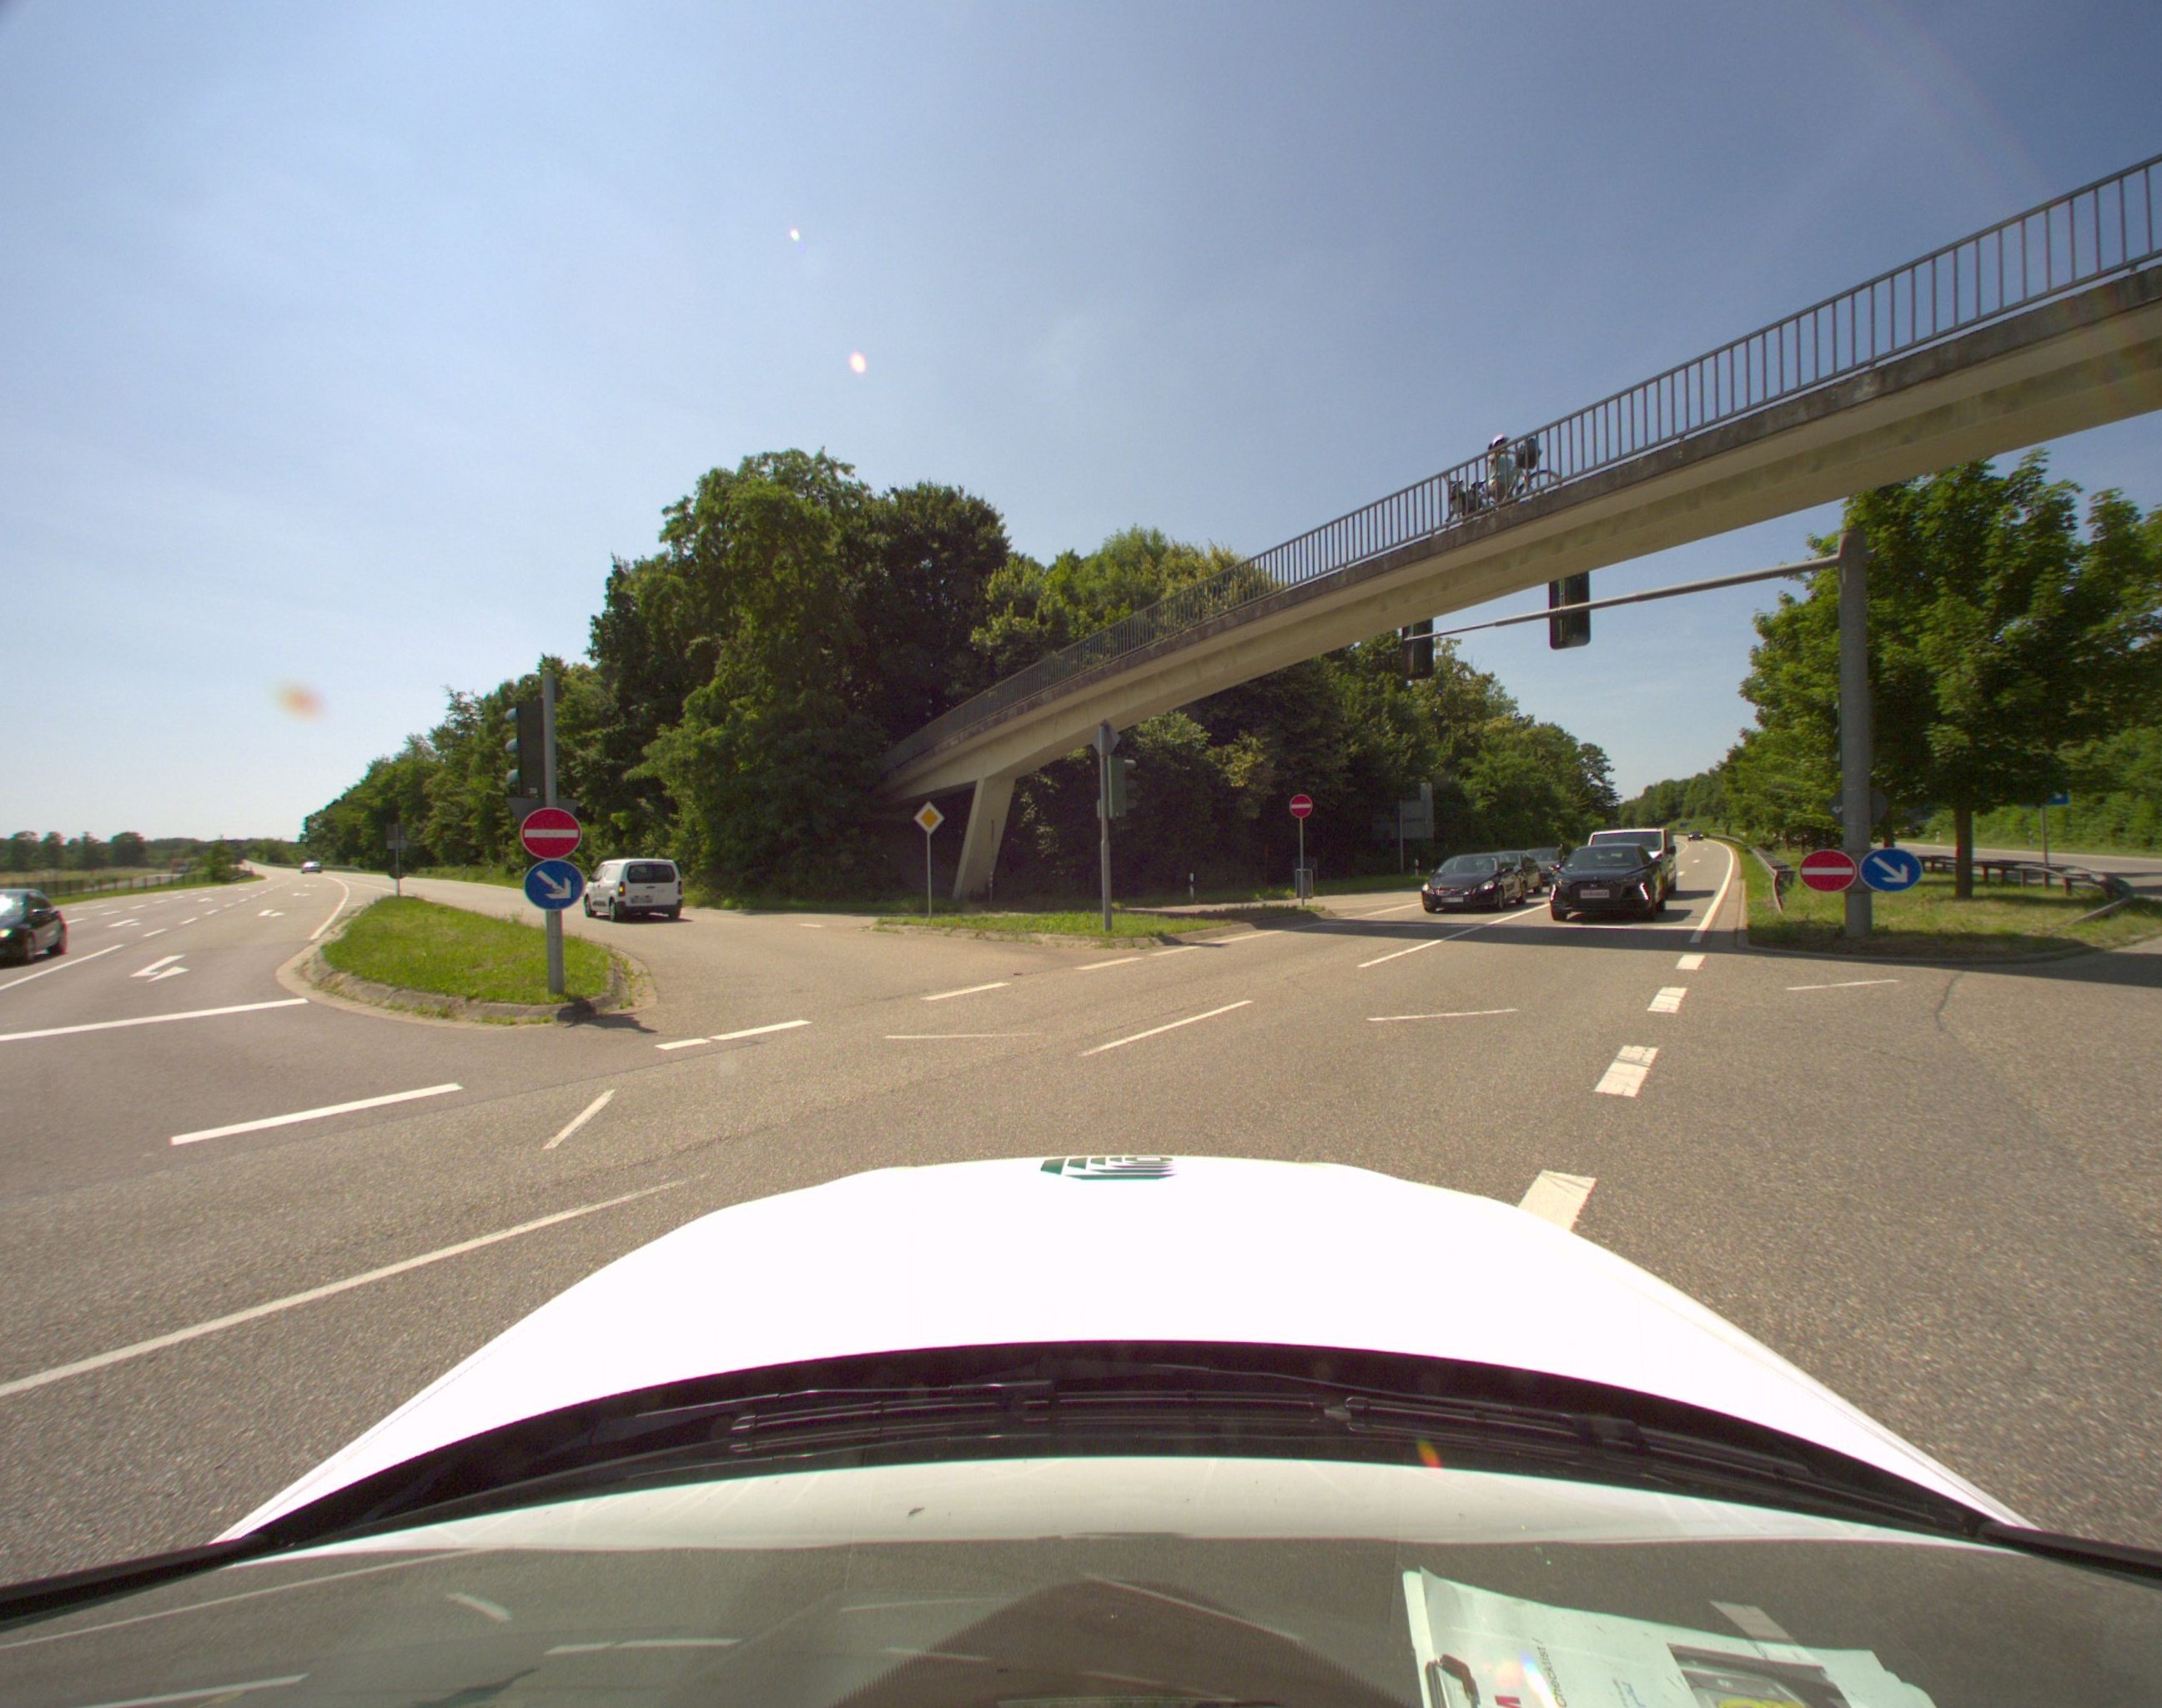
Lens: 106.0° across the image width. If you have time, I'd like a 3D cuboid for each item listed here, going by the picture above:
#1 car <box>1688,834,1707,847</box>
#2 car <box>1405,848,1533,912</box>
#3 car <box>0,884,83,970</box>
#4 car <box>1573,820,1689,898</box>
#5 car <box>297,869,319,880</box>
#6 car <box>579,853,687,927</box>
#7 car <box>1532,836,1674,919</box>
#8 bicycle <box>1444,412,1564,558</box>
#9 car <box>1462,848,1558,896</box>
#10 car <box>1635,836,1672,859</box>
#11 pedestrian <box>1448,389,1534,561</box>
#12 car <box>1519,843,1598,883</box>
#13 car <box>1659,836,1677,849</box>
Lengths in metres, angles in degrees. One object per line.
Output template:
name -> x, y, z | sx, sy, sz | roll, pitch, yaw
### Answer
car -> 96.234, -2.116, 127.165 | 1.974, 2.013, 4.025 | 1, 1, 30
car -> 10.112, 0.631, 21.073 | 1.988, 1.460, 4.081 | -3, -1, 40
car -> -21.824, 1.456, 16.225 | 1.751, 1.531, 4.117 | -5, 2, -42
car -> 16.006, 0.131, 23.566 | 2.187, 1.993, 5.523 | -3, -1, 40
car -> -103.236, 2.740, 108.761 | 2.012, 1.373, 4.722 | -1, 0, -44
car -> -13.466, 0.977, 24.378 | 1.866, 1.825, 3.933 | -4, 4, -43
car -> 11.101, 0.465, 17.199 | 1.974, 1.523, 4.053 | -4, -2, 40
bicycle -> 6.352, -5.513, 12.301 | 0.471, 1.474, 1.515 | 0, -3, -34
car -> 14.328, 0.570, 27.110 | 1.988, 1.460, 4.081 | -3, -1, 40
car -> 44.114, -0.505, 62.703 | 1.988, 1.601, 4.081 | -3, -1, 40
pedestrian -> 6.378, -5.847, 12.680 | 0.935, 2.140, 0.776 | 0, -3, -34
car -> 18.727, 0.318, 31.859 | 1.989, 1.460, 4.081 | -1, 0, 40
car -> 87.079, -1.699, 120.770 | 1.974, 1.750, 4.025 | 1, 1, 37
